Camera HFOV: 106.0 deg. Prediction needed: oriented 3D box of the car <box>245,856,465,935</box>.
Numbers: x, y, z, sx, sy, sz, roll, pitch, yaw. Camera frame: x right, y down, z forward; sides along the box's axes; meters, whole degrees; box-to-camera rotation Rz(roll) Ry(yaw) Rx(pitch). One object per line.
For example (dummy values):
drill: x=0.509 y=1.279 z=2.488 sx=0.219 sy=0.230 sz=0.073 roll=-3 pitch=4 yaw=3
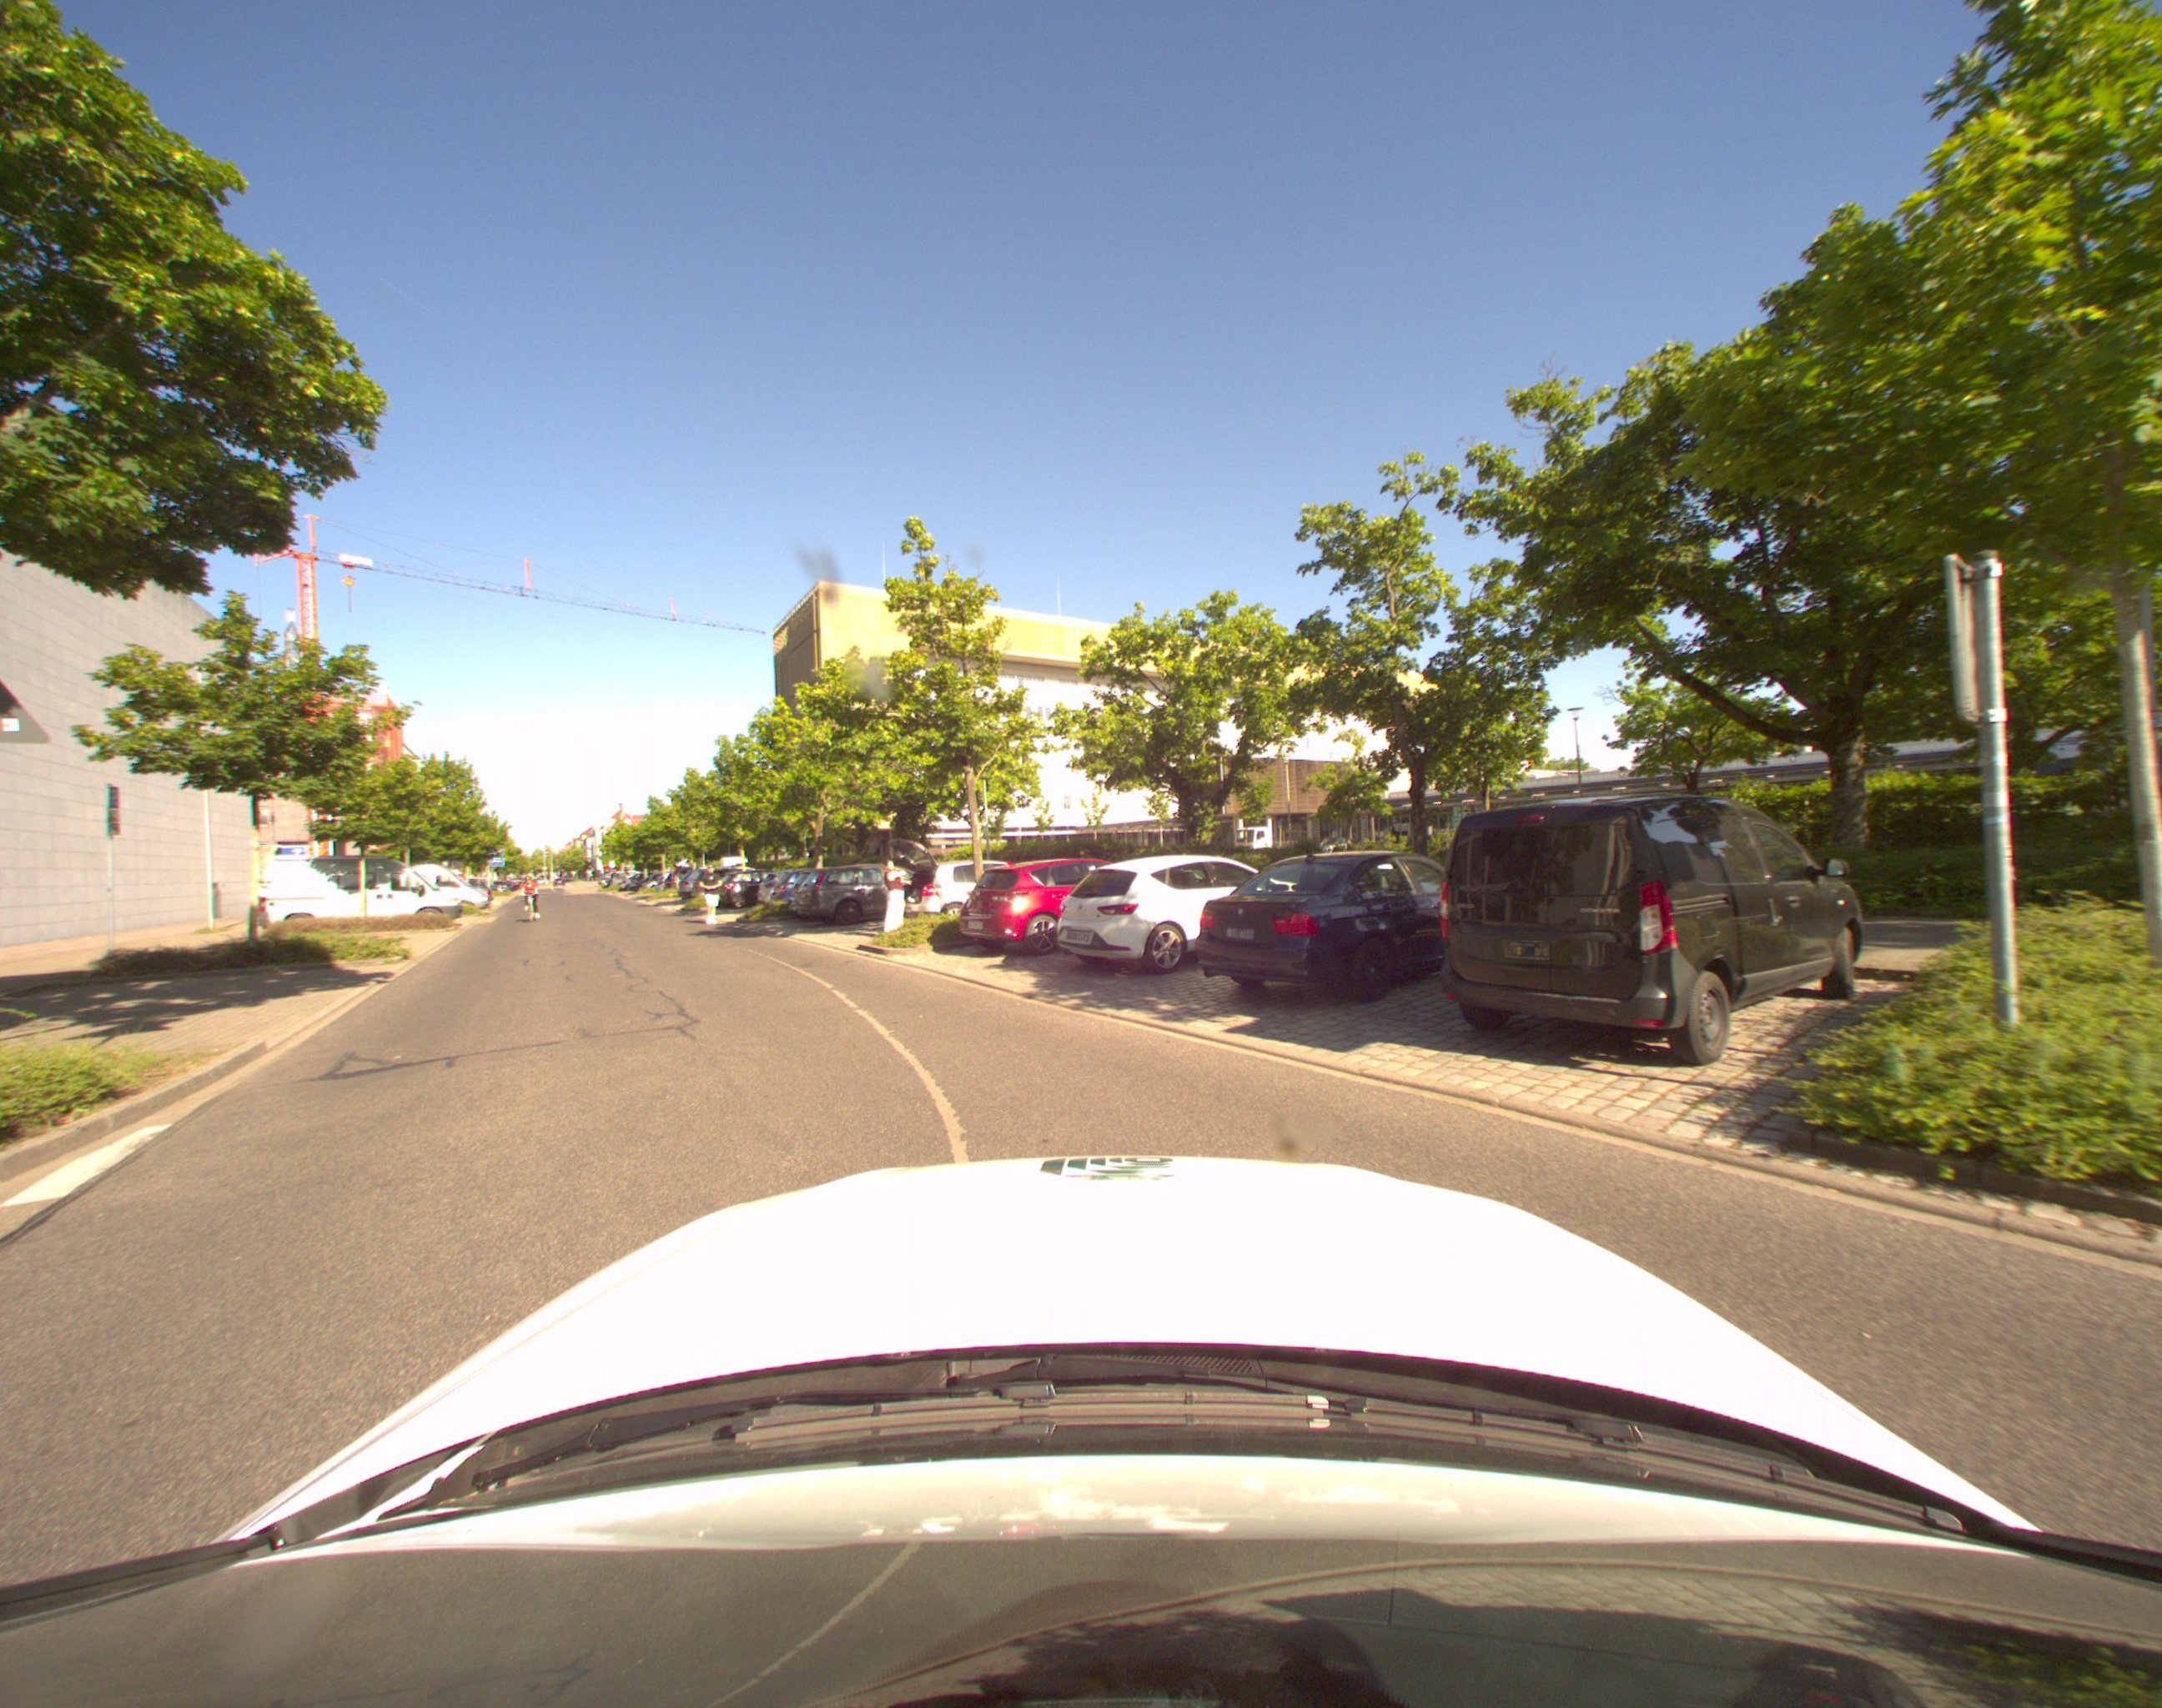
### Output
car: x=-24.353 y=1.314 z=27.673 sx=5.285 sy=2.418 sz=2.101 roll=0 pitch=-1 yaw=-33

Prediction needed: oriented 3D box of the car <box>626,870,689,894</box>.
car: x=-33.826 y=2.228 z=65.115 sx=4.176 sy=1.580 sz=1.722 roll=-4 pitch=1 yaw=-35

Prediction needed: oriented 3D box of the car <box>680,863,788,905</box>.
car: x=-16.591 y=1.399 z=38.987 sx=4.355 sy=1.607 sz=1.890 roll=-4 pitch=1 yaw=-37

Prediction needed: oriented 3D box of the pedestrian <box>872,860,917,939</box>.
pedestrian: x=-3.875 y=0.929 z=16.936 sx=0.763 sy=1.579 sz=0.673 roll=-2 pitch=1 yaw=-6

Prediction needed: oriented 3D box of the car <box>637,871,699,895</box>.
car: x=-30.815 y=2.159 z=60.800 sx=3.930 sy=1.486 sz=1.724 roll=-3 pitch=1 yaw=-35

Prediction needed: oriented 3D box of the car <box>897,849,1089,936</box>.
car: x=-1.913 y=0.774 z=18.266 sx=3.929 sy=1.577 sz=1.661 roll=-3 pitch=2 yaw=-36

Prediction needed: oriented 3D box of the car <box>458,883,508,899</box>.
car: x=-66.164 y=4.076 z=90.154 sx=4.366 sy=1.474 sz=1.797 roll=-3 pitch=1 yaw=-37

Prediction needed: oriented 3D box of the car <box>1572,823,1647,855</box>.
car: x=28.176 y=-0.810 z=43.361 sx=3.922 sy=1.497 sz=1.823 roll=-4 pitch=1 yaw=-32

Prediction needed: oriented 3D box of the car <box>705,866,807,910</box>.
car: x=-13.295 y=1.374 z=33.358 sx=3.480 sy=1.489 sz=1.728 roll=-4 pitch=0 yaw=-36

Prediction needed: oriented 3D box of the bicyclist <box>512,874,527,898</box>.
bicyclist: x=-39.279 y=2.231 z=56.979 sx=0.688 sy=1.580 sz=1.051 roll=-4 pitch=1 yaw=-29

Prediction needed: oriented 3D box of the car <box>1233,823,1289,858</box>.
car: x=13.978 y=-1.083 z=63.397 sx=3.659 sy=2.490 sz=2.210 roll=-4 pitch=1 yaw=-32

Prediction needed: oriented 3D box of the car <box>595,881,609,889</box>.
car: x=-98.439 y=6.323 z=167.434 sx=2.005 sy=1.474 sz=4.065 roll=-3 pitch=1 yaw=-36

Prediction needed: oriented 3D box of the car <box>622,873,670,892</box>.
car: x=-41.175 y=2.694 z=77.026 sx=3.794 sy=1.459 sz=1.798 roll=-3 pitch=0 yaw=-34

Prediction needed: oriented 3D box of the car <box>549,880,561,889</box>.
car: x=-103.274 y=5.938 z=159.846 sx=1.825 sy=1.474 sz=4.068 roll=-3 pitch=1 yaw=-33

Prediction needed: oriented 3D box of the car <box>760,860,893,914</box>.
car: x=-8.653 y=1.089 z=27.725 sx=3.922 sy=1.497 sz=1.823 roll=-4 pitch=1 yaw=-33

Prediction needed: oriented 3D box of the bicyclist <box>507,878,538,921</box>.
bicyclist: x=-19.994 y=1.610 z=29.186 sx=0.762 sy=1.431 sz=1.120 roll=-5 pitch=1 yaw=-32

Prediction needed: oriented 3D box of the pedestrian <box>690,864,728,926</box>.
pedestrian: x=-11.230 y=1.223 z=24.549 sx=0.724 sy=1.771 sz=1.156 roll=-5 pitch=1 yaw=-35

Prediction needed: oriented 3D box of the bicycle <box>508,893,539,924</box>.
bicycle: x=-19.960 y=1.932 z=29.164 sx=0.762 sy=1.002 sz=1.852 roll=-5 pitch=1 yaw=-32

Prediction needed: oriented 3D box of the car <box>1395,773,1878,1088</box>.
car: x=4.775 y=0.365 z=6.824 sx=4.185 sy=1.846 sz=1.860 roll=-5 pitch=1 yaw=-34

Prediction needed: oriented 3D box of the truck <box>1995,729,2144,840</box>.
truck: x=37.981 y=-2.596 z=31.235 sx=6.949 sy=3.806 sz=2.783 roll=-3 pitch=1 yaw=-32

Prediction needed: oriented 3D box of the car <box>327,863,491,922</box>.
car: x=-30.762 y=1.695 z=37.552 sx=5.589 sy=2.410 sz=1.967 roll=-1 pitch=-1 yaw=-32

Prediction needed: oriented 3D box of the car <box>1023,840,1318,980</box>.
car: x=1.356 y=0.664 z=11.579 sx=3.930 sy=1.436 sz=1.789 roll=-5 pitch=2 yaw=-36

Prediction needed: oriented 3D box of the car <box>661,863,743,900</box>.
car: x=-22.948 y=1.622 z=49.374 sx=4.151 sy=1.927 sz=1.957 roll=-3 pitch=2 yaw=-36

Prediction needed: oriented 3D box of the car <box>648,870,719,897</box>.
car: x=-26.963 y=1.975 z=55.222 sx=4.091 sy=1.425 sz=1.724 roll=-4 pitch=0 yaw=-33

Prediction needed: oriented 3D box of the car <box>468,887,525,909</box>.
car: x=-56.154 y=4.207 z=78.320 sx=4.294 sy=1.665 sz=1.582 roll=-3 pitch=1 yaw=-35

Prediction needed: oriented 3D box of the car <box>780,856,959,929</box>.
car: x=-5.576 y=0.966 z=21.700 sx=4.218 sy=1.519 sz=1.717 roll=-4 pitch=1 yaw=-36

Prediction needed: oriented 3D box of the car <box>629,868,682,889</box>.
car: x=-38.277 y=2.177 z=73.228 sx=4.016 sy=1.582 sz=2.010 roll=-3 pitch=0 yaw=-33

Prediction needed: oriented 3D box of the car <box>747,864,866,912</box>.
car: x=-10.001 y=1.197 z=29.750 sx=3.759 sy=1.416 sz=1.823 roll=-4 pitch=1 yaw=-33

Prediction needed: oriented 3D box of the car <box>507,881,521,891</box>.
car: x=-93.364 y=5.271 z=134.125 sx=1.825 sy=1.474 sz=4.066 roll=-3 pitch=1 yaw=-35

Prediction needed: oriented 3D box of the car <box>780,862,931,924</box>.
car: x=-6.569 y=1.072 z=23.923 sx=3.929 sy=1.468 sz=1.603 roll=-3 pitch=2 yaw=-36

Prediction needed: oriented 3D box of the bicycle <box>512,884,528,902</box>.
bicycle: x=-39.216 y=2.723 z=56.941 sx=0.702 sy=1.110 sz=2.059 roll=-4 pitch=1 yaw=-29

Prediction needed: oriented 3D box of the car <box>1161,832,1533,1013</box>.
car: x=3.119 y=0.599 z=9.202 sx=4.187 sy=1.406 sz=1.809 roll=-5 pitch=1 yaw=-36

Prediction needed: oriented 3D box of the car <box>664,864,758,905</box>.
car: x=-18.488 y=1.483 z=40.731 sx=3.929 sy=1.695 sz=1.919 roll=-3 pitch=2 yaw=-36

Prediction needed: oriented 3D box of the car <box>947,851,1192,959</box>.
car: x=-0.126 y=0.790 z=14.006 sx=3.929 sy=1.426 sz=1.654 roll=-3 pitch=0 yaw=-36

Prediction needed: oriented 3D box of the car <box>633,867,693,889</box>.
car: x=-32.458 y=1.849 z=63.248 sx=3.892 sy=1.504 sz=1.634 roll=-3 pitch=1 yaw=-36
